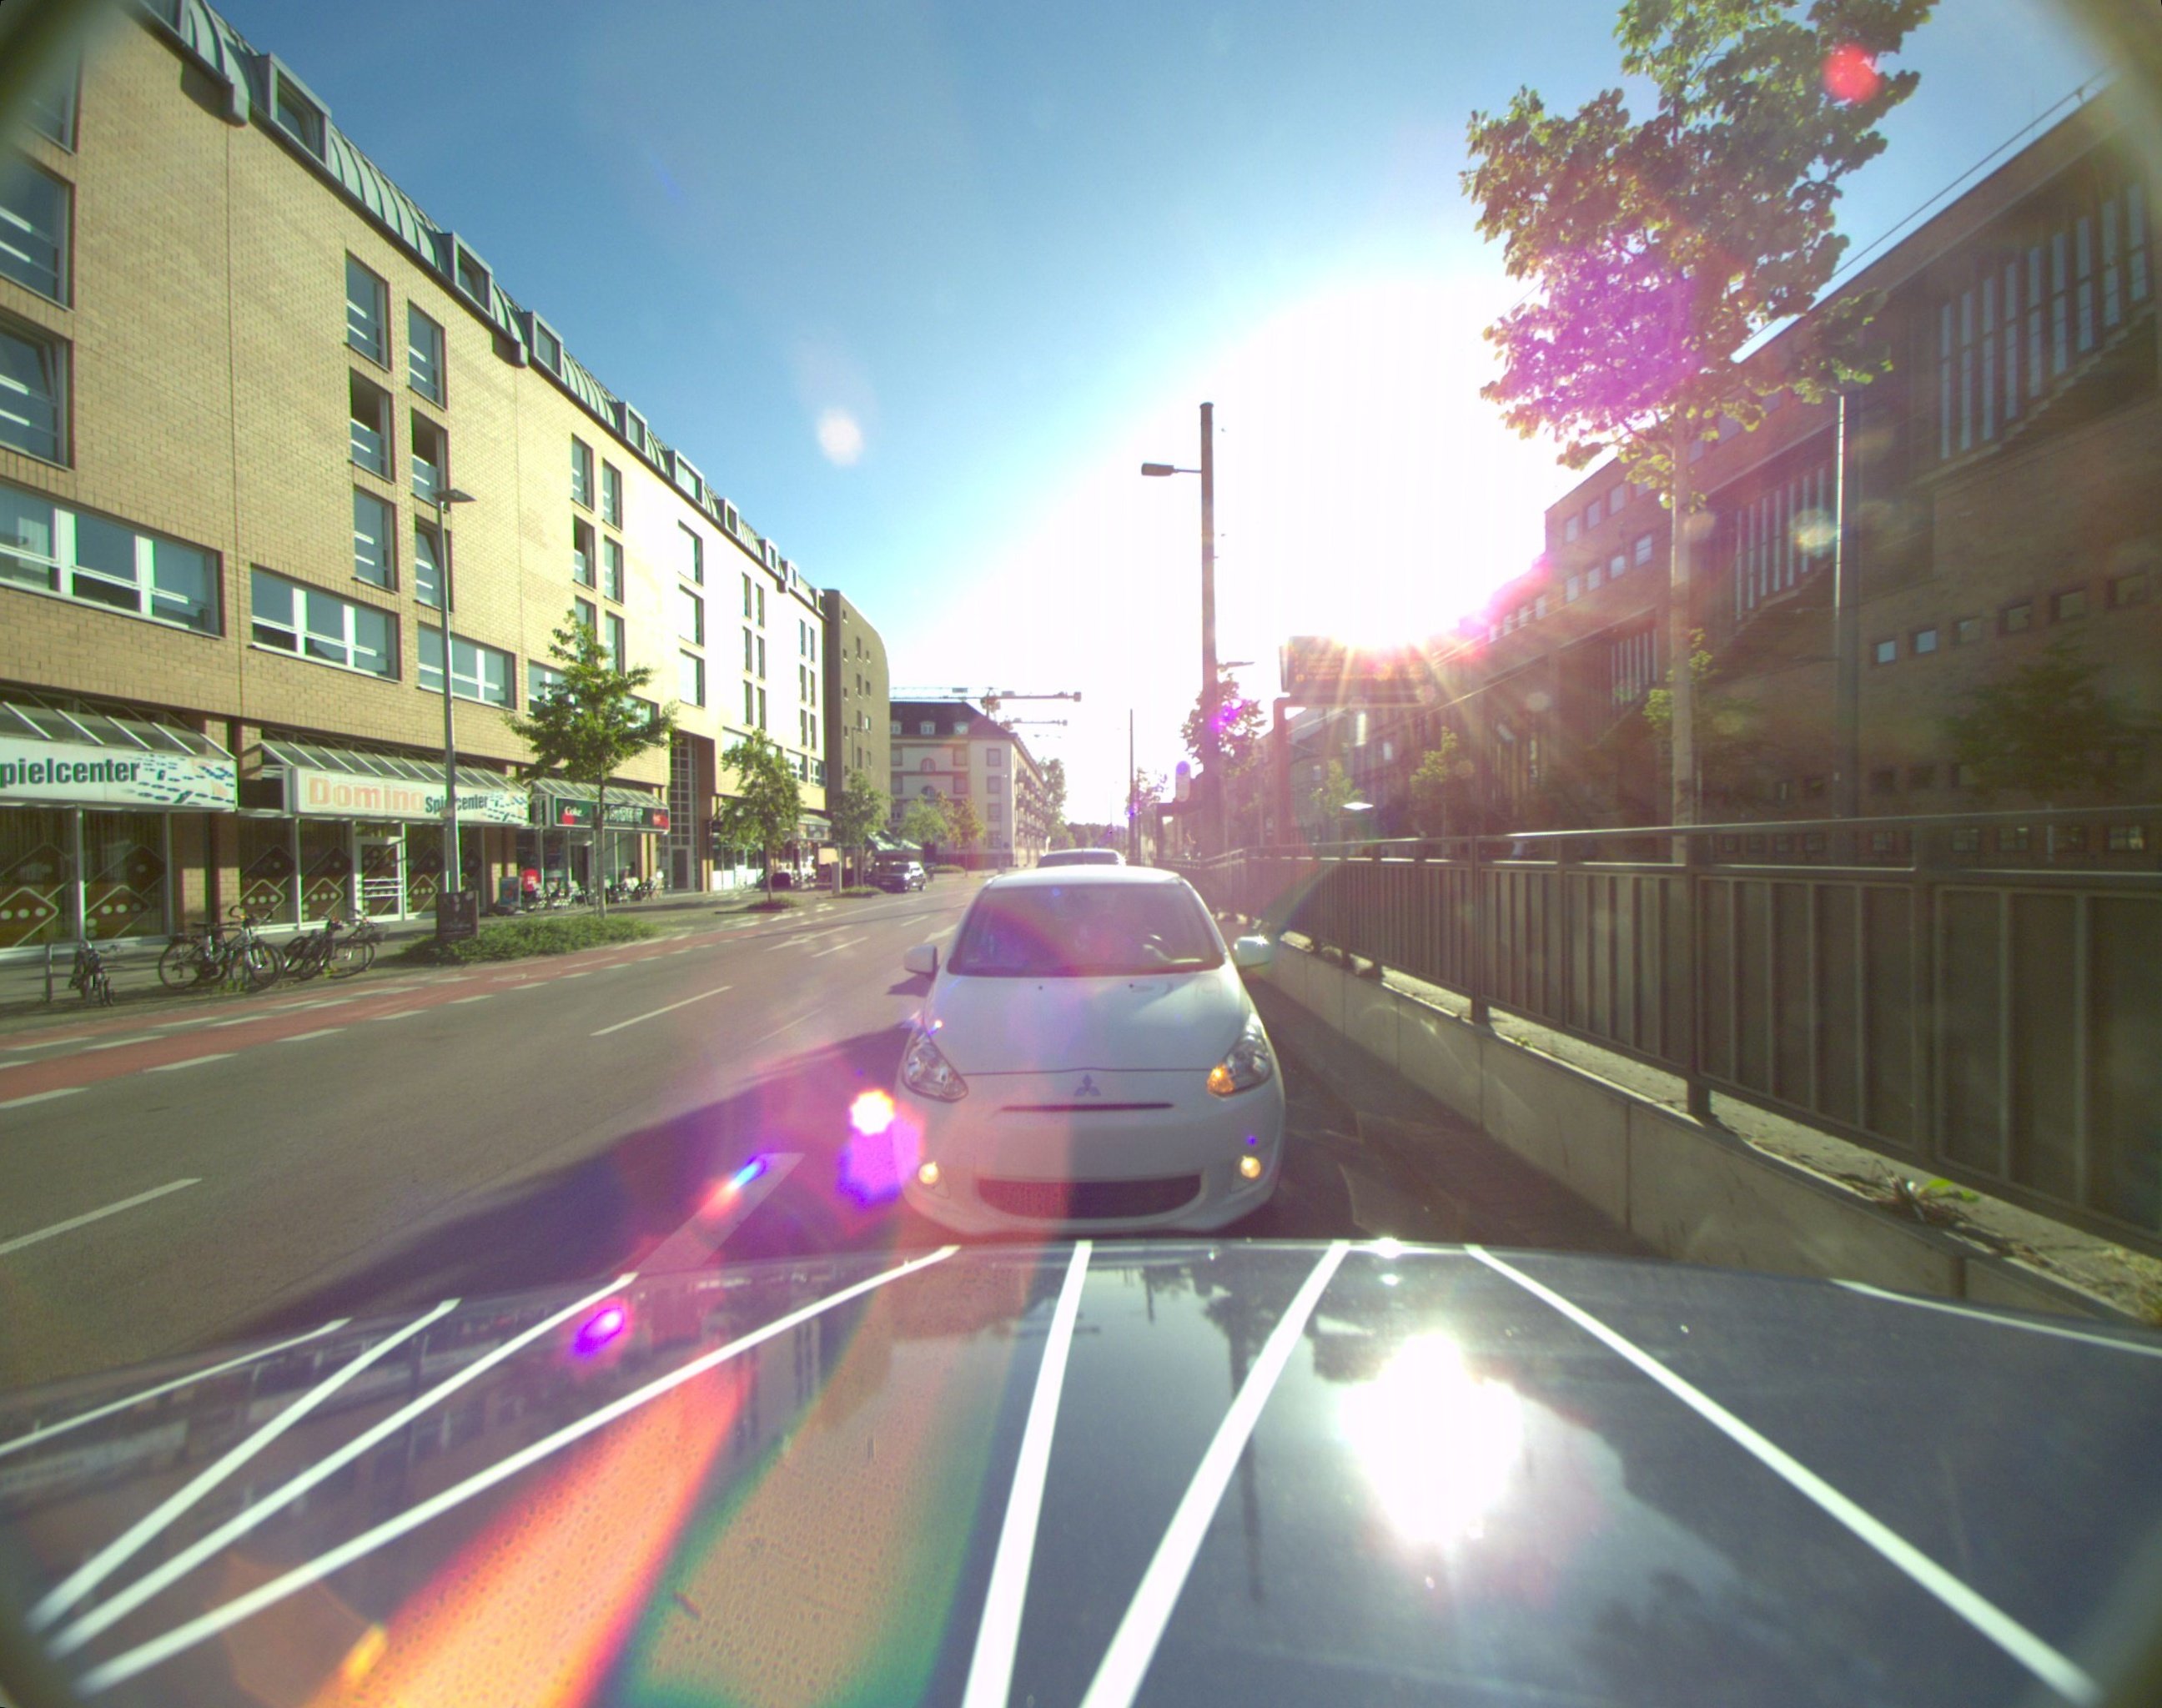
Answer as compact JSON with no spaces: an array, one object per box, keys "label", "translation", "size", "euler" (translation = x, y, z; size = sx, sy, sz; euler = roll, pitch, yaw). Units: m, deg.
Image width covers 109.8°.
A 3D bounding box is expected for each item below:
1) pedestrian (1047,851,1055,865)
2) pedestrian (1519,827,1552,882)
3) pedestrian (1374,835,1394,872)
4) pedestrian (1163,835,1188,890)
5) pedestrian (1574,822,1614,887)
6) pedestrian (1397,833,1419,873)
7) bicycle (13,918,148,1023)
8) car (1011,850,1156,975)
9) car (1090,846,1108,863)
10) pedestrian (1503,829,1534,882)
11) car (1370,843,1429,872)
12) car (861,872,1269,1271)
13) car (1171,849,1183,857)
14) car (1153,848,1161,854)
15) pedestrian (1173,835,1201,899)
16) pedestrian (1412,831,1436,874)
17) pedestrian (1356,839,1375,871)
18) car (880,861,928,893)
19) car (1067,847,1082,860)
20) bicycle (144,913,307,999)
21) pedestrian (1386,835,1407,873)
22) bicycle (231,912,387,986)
[{"label":"pedestrian","translation":[-3.404,0.453,86.797],"size":[0.804,1.656,0.891],"euler":[-1,1,-5]},{"label":"pedestrian","translation":[14.530,0.023,24.279],"size":[0.692,1.732,0.586],"euler":[-1,1,-2]},{"label":"pedestrian","translation":[14.408,-0.029,36.155],"size":[0.692,1.732,0.586],"euler":[-1,1,-2]},{"label":"pedestrian","translation":[3.503,0.324,28.224],"size":[0.784,2.002,0.880],"euler":[-1,1,1]},{"label":"pedestrian","translation":[13.960,0.015,20.697],"size":[0.692,1.732,0.586],"euler":[-1,1,-2]},{"label":"pedestrian","translation":[14.415,-0.041,33.465],"size":[0.692,1.732,0.586],"euler":[-1,1,-2]},{"label":"bicycle","translation":[-12.821,1.451,9.734],"size":[1.771,1.142,0.554],"euler":[1,2,21]},{"label":"car","translation":[0.066,0.803,12.731],"size":[1.955,1.652,4.355],"euler":[-2,1,1]},{"label":"car","translation":[2.064,0.057,86.960],"size":[1.998,1.958,4.000],"euler":[-1,0,1]},{"label":"pedestrian","translation":[14.489,0.048,25.176],"size":[0.692,1.732,0.586],"euler":[-1,1,-2]},{"label":"car","translation":[17.401,0.179,41.696],"size":[1.702,1.477,3.704],"euler":[-1,0,1]},{"label":"car","translation":[-0.037,0.959,5.246],"size":[1.640,1.458,4.186],"euler":[-2,1,1]},{"label":"car","translation":[17.630,-0.145,139.331],"size":[1.703,1.477,3.703],"euler":[-1,0,0]},{"label":"car","translation":[19.088,-0.779,191.213],"size":[1.702,1.477,3.704],"euler":[-1,0,1]},{"label":"pedestrian","translation":[3.401,0.402,24.330],"size":[0.784,2.002,0.880],"euler":[-1,1,3]},{"label":"pedestrian","translation":[13.901,-0.061,30.820],"size":[0.692,1.732,0.586],"euler":[-1,1,-2]},{"label":"pedestrian","translation":[14.497,0.050,38.715],"size":[0.692,1.566,0.586],"euler":[-1,1,-2]},{"label":"car","translation":[-9.658,1.219,41.706],"size":[1.655,1.521,3.693],"euler":[-2,1,1]},{"label":"car","translation":[-0.870,-0.026,97.183],"size":[1.829,1.644,3.682],"euler":[-1,0,0]},{"label":"bicycle","translation":[-12.353,1.456,10.996],"size":[1.774,1.135,0.553],"euler":[0,2,3]},{"label":"pedestrian","translation":[14.440,-0.002,34.834],"size":[0.692,1.732,0.586],"euler":[-1,1,-2]},{"label":"bicycle","translation":[-12.391,1.513,12.228],"size":[1.774,1.065,0.737],"euler":[0,2,3]}]
